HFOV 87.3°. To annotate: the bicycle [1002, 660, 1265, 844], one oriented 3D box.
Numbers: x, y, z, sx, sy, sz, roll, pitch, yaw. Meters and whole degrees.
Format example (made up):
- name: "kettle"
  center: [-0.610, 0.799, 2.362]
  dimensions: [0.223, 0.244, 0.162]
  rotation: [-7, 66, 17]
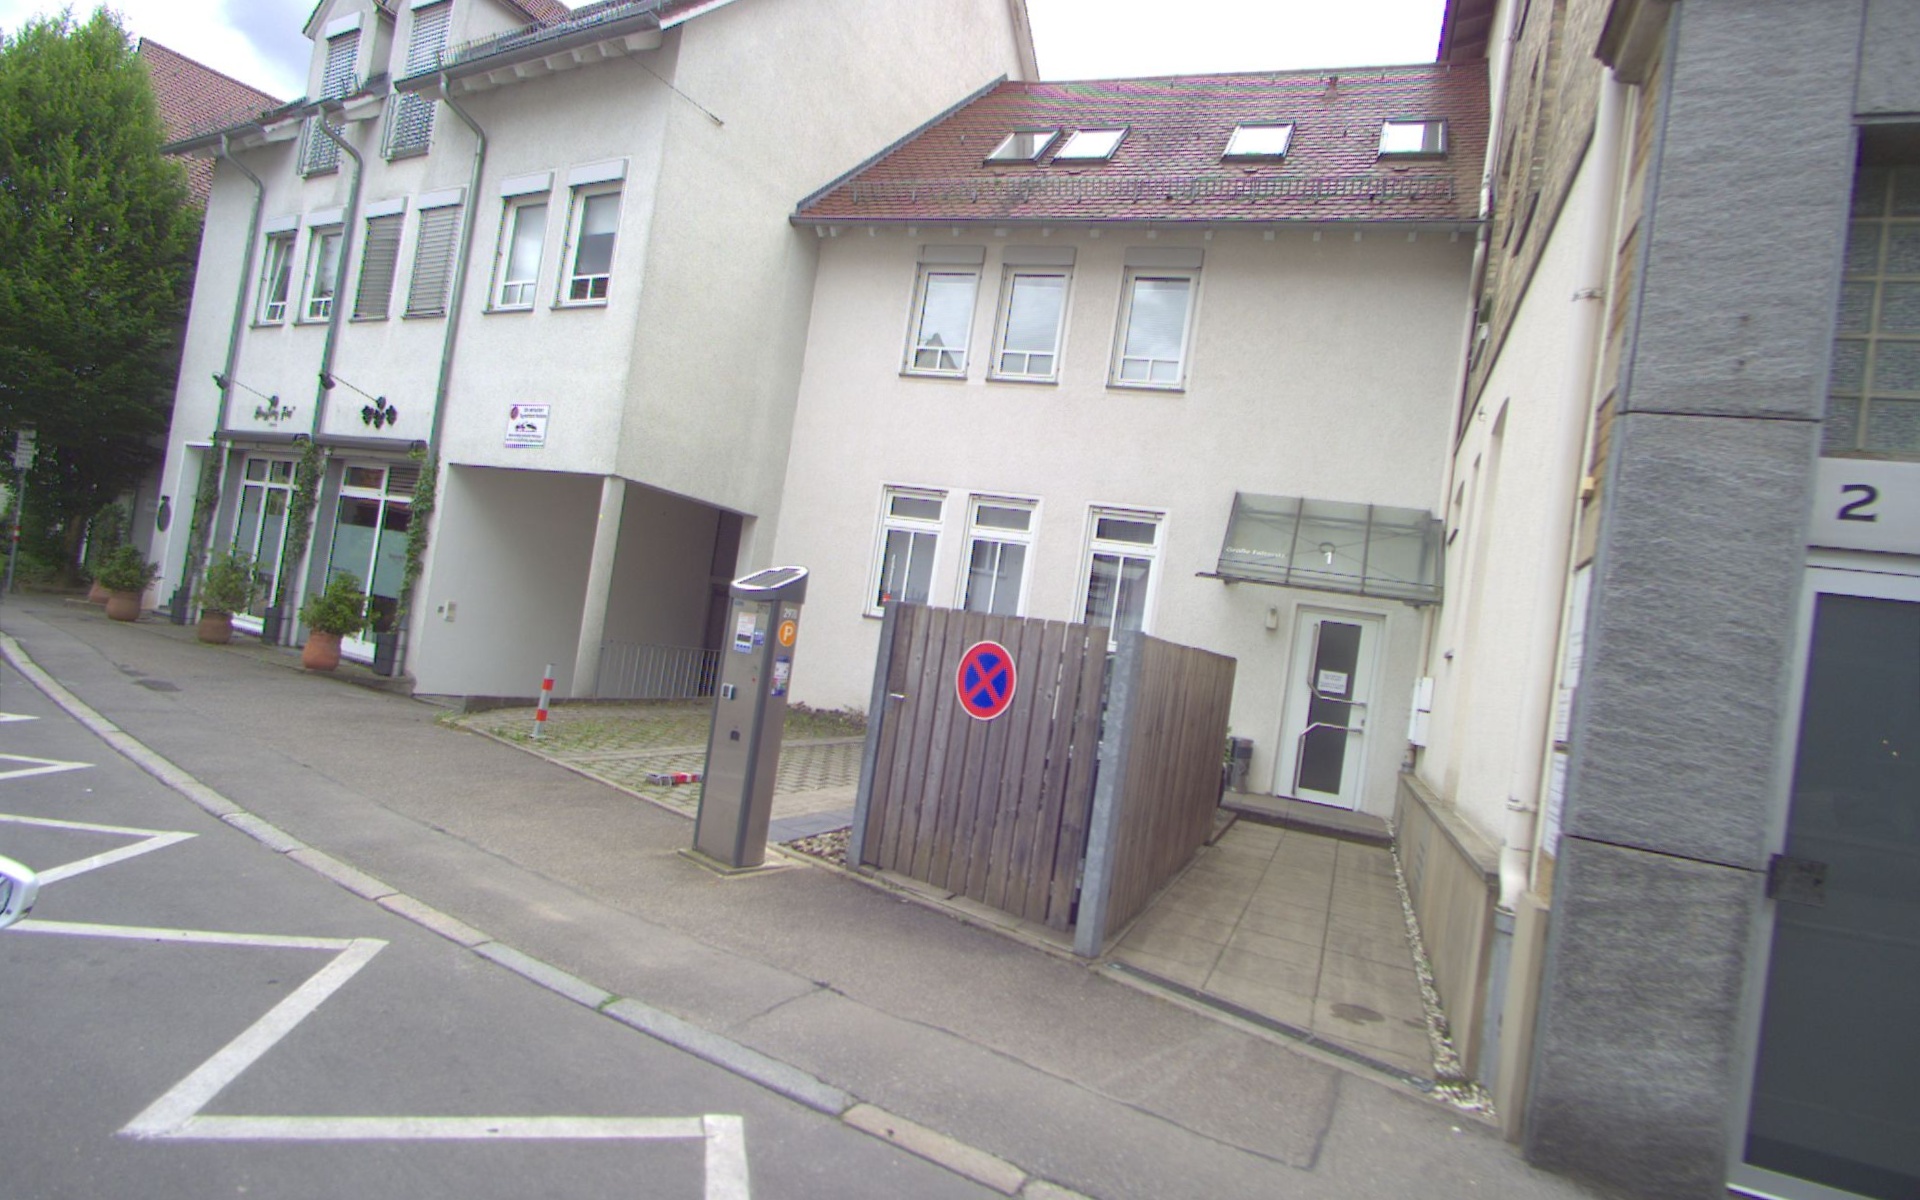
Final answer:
- name: "bicycle"
  center: [1.592, 1.344, 9.370]
  dimensions: [2.065, 1.234, 0.960]
  rotation: [9, 1, 32]
